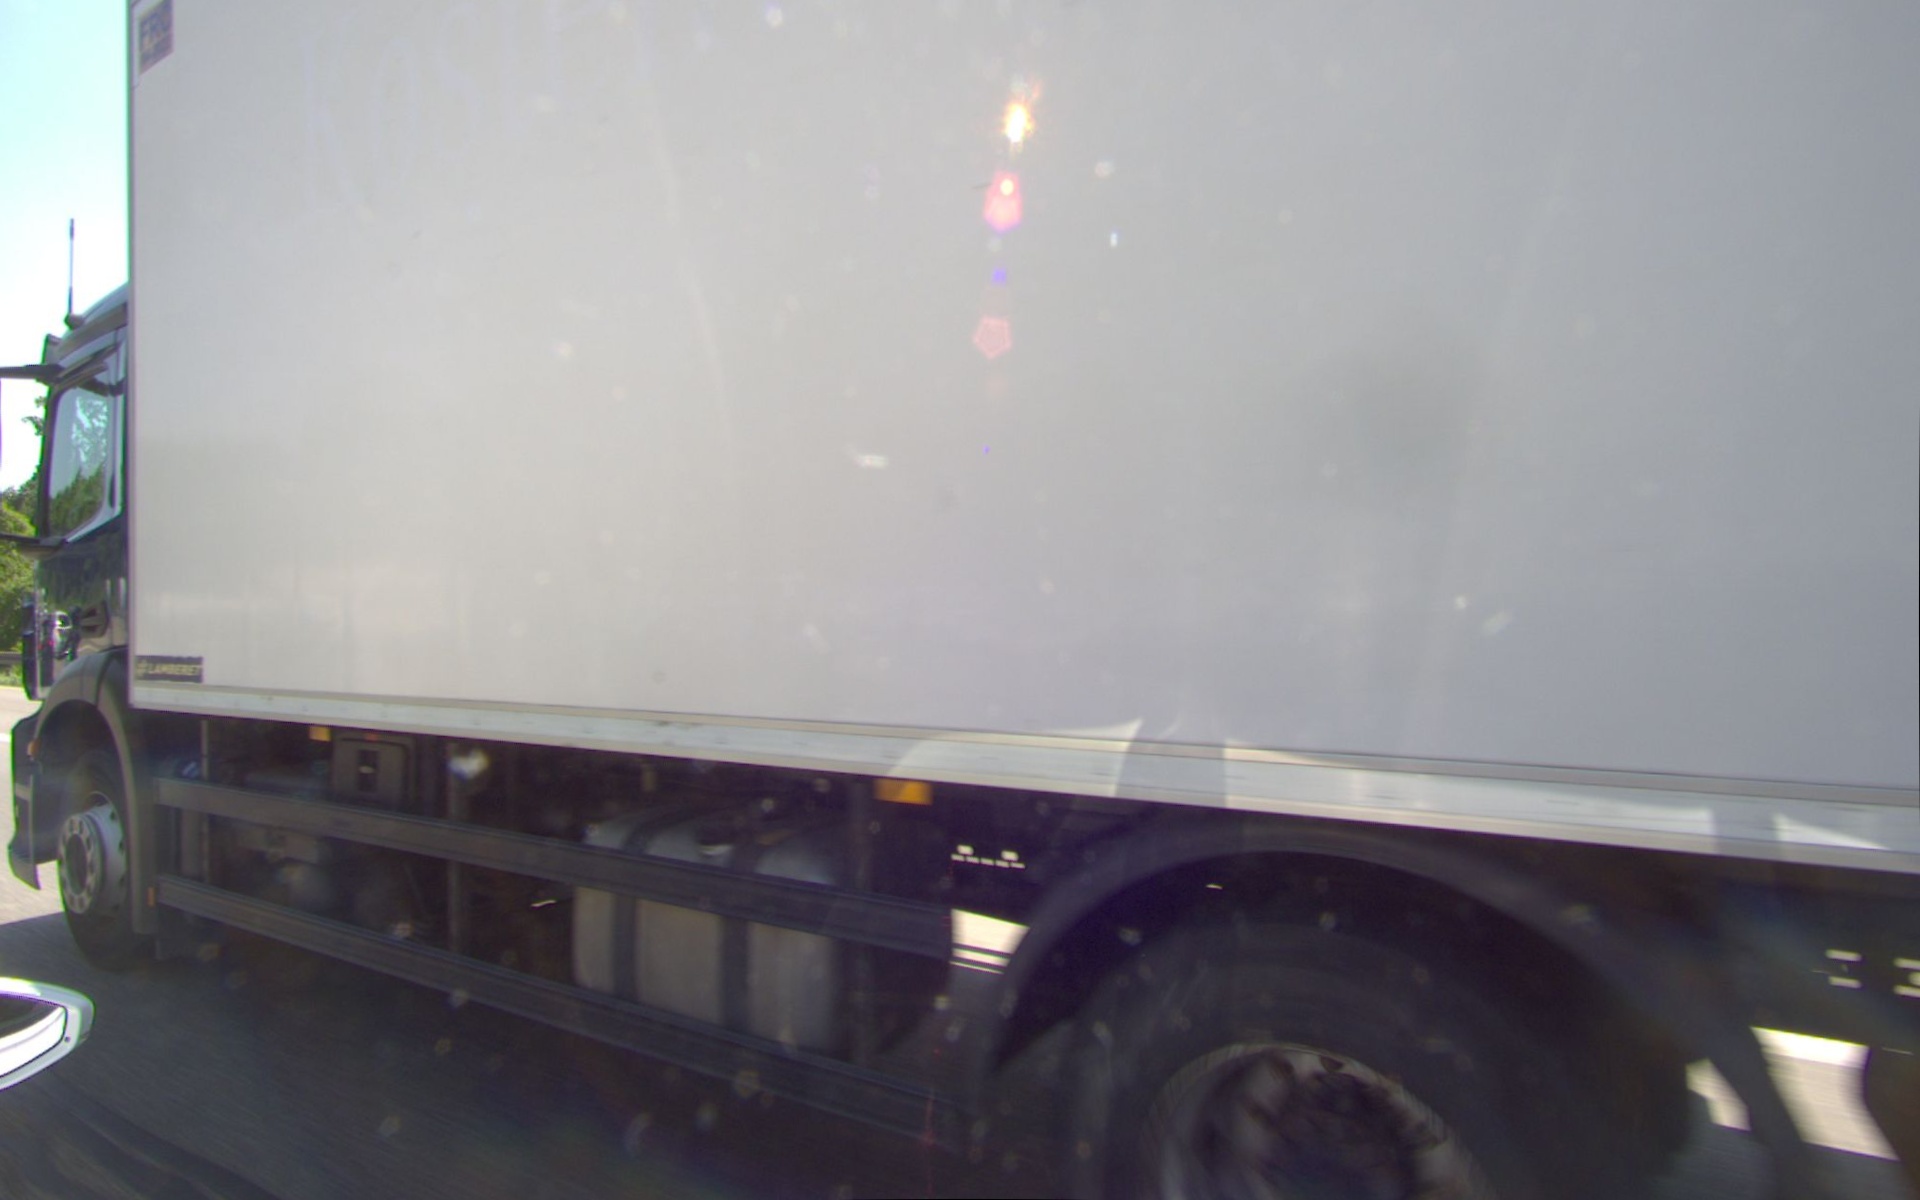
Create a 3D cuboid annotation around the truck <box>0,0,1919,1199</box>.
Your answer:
[{"bbox_3d":[-0.447,-0.488,3.641,9.639,3.929,2.681,-1,2,32],"label":"truck"}]
